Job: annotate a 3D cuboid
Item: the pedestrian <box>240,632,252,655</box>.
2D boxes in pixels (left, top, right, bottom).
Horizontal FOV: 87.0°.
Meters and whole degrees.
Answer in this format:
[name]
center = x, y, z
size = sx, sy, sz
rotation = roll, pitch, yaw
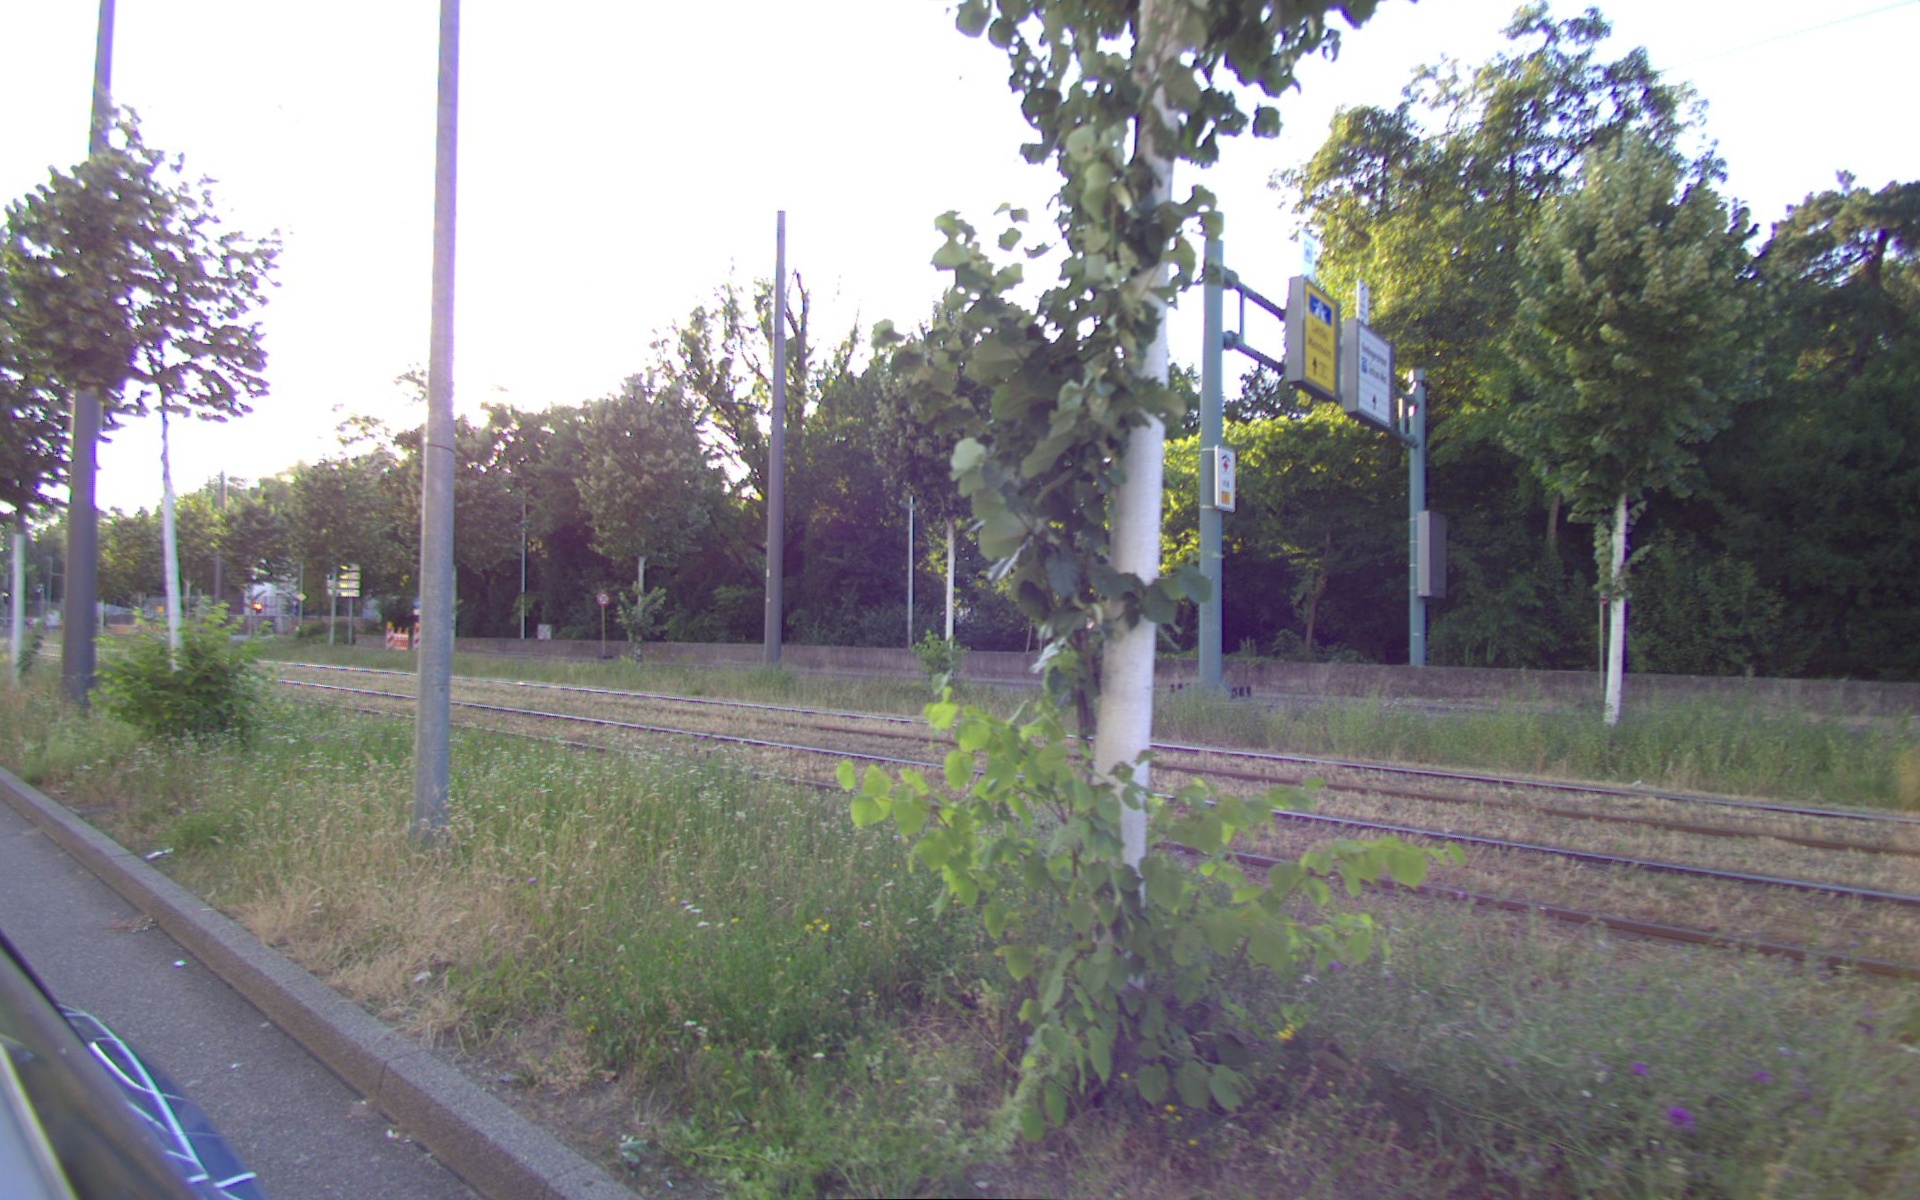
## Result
[pedestrian]
center = -53.173, 3.248, 75.355
size = 0.660, 1.620, 0.679
rotation = -1, -5, -37
